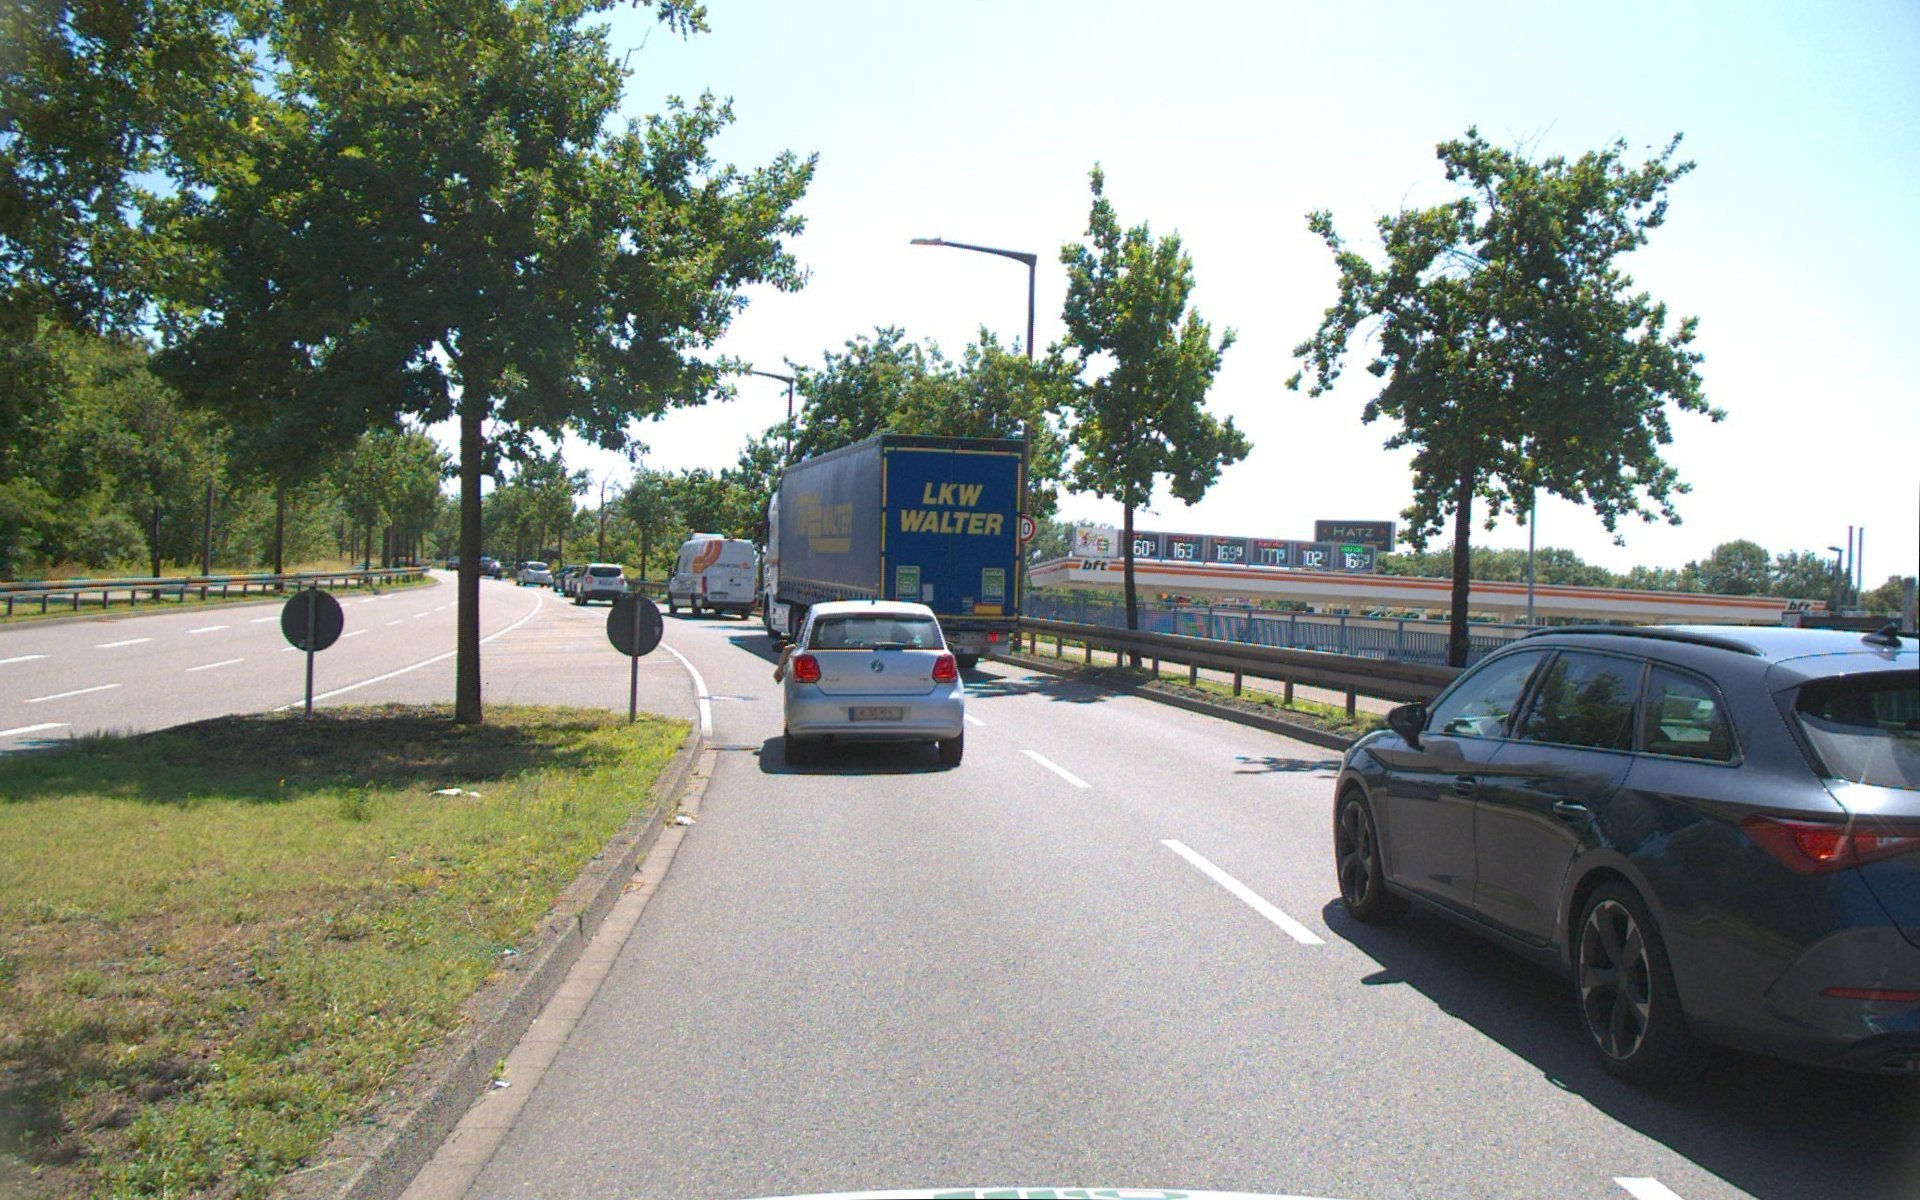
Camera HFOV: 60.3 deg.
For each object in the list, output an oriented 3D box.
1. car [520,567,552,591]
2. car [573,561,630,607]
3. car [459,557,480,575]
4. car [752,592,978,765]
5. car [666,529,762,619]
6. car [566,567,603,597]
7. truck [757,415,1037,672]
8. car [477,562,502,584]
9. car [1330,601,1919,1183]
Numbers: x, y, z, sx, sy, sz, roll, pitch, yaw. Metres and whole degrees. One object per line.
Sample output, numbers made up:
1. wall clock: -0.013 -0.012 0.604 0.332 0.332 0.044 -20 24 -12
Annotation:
1. car: -25.715 -1.256 100.272 1.583 1.384 3.643 2 0 -19
2. car: -14.772 -0.613 67.985 1.873 1.748 4.203 2 -1 -17
3. car: -40.325 -2.764 136.027 1.432 1.337 3.623 2 -1 -15
4. car: -1.029 0.713 16.084 1.617 1.464 3.525 2 -1 -13
5. car: -8.767 -0.923 58.444 2.143 2.951 6.324 2 1 -19
6. car: -17.841 -0.842 78.503 1.470 1.384 3.646 2 0 -16
7. truck: -2.017 -0.953 36.115 2.785 4.272 16.414 2 0 -14
8. car: -34.252 -1.951 120.517 1.637 1.491 3.567 2 -1 -14
9. car: 2.866 0.799 6.405 1.573 1.481 4.230 2 -1 -5
